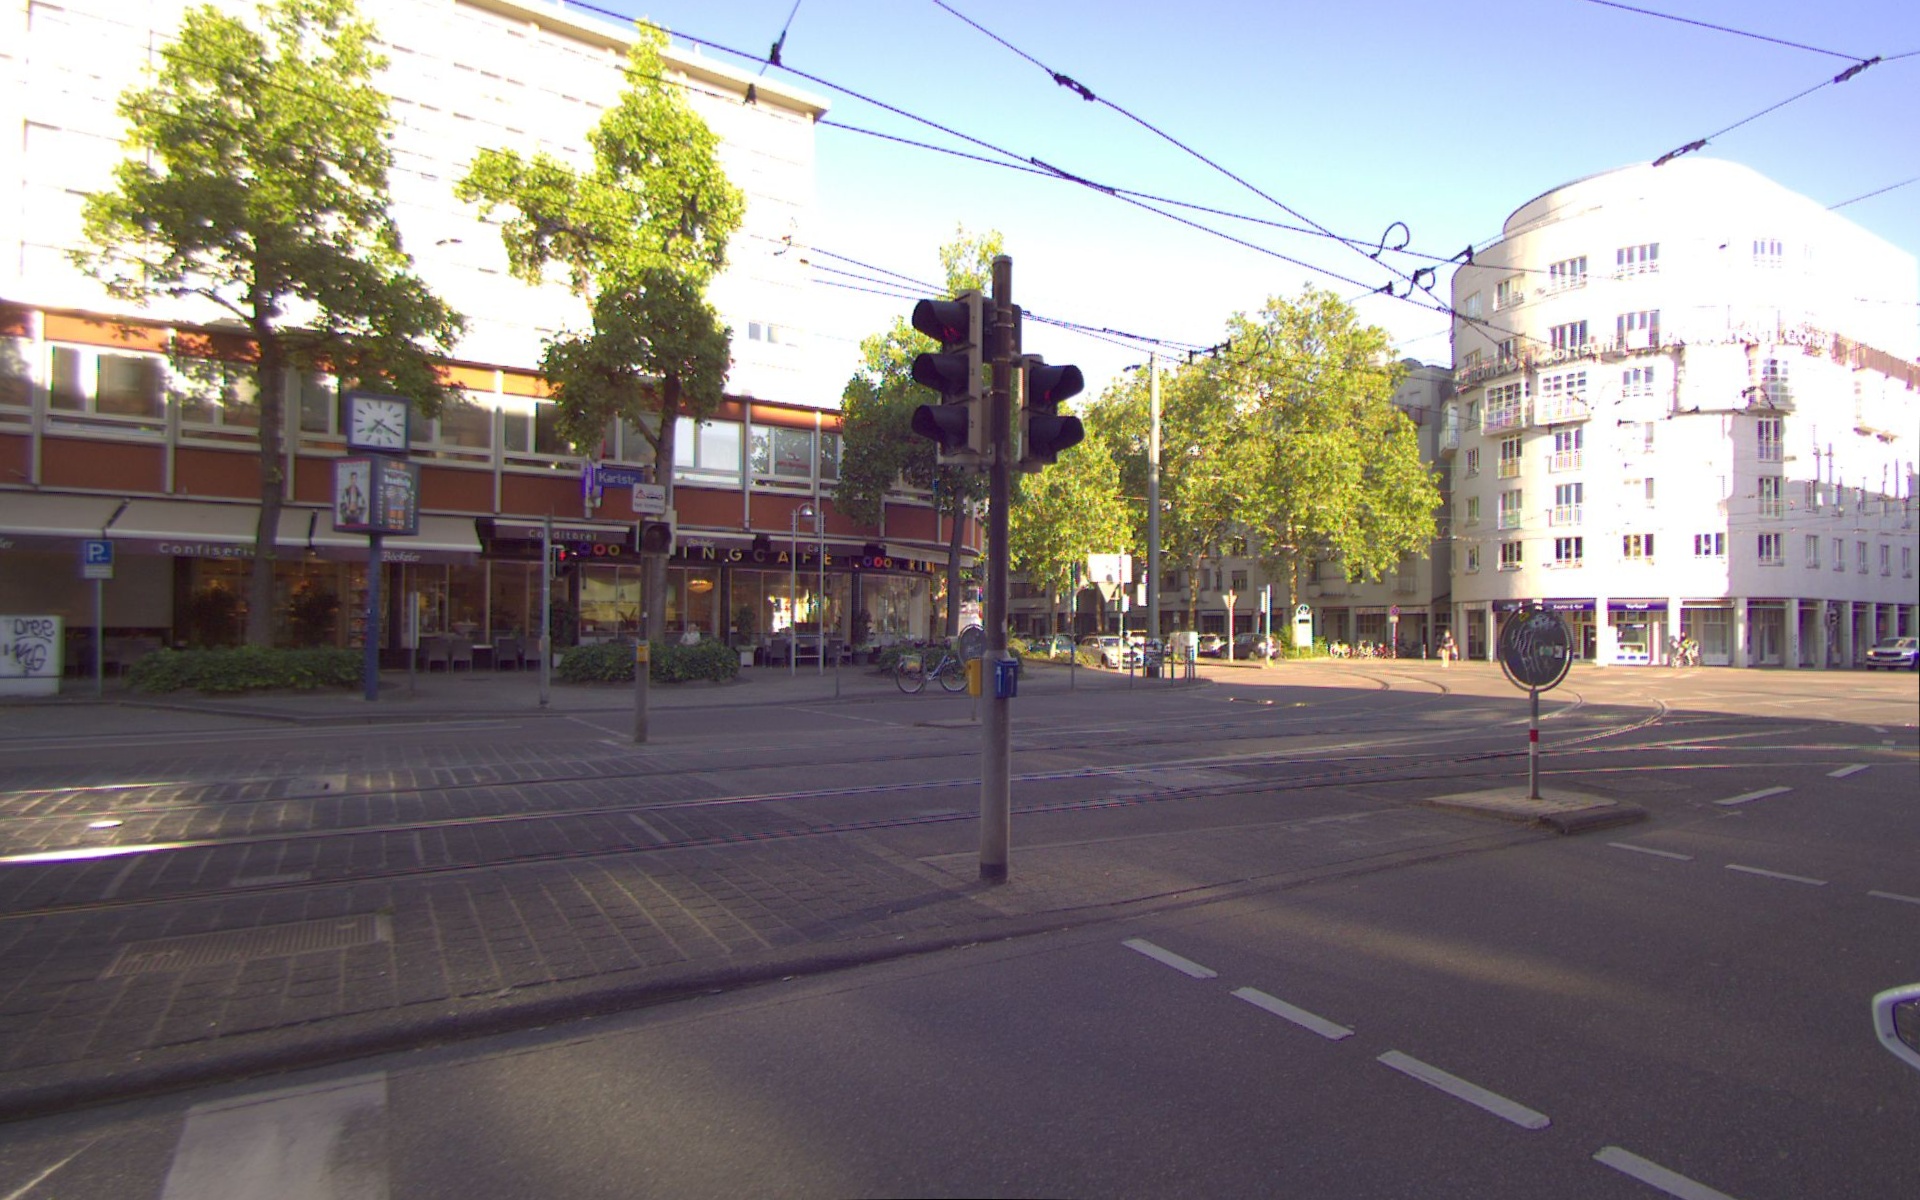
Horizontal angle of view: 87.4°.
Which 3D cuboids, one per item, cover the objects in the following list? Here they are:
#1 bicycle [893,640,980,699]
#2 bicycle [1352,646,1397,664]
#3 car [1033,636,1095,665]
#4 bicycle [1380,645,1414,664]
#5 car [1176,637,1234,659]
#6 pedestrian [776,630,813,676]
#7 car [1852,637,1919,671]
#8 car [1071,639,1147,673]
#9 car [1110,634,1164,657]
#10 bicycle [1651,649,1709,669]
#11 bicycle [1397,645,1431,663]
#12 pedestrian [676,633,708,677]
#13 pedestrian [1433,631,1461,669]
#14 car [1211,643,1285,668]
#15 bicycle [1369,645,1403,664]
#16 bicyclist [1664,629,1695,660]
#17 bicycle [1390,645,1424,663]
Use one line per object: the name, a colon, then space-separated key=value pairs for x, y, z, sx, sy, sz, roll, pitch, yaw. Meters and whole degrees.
bicycle: x=-0.519 y=1.511 z=22.110 sx=1.832 sy=1.251 sz=0.579 roll=1 pitch=-1 yaw=-26
bicycle: x=25.766 y=3.408 z=62.466 sx=0.932 sy=1.122 sz=2.412 roll=2 pitch=-3 yaw=-44
car: x=5.393 y=2.633 z=52.516 sx=1.859 sy=1.439 sz=4.445 roll=1 pitch=-3 yaw=-14
bicycle: x=27.840 y=3.465 z=64.086 sx=0.808 sy=1.122 sz=1.936 roll=1 pitch=-2 yaw=-25
car: x=17.403 y=3.426 z=71.385 sx=3.956 sy=1.530 sz=1.784 roll=2 pitch=-2 yaw=-33
pedestrian: x=-5.178 y=1.658 z=31.428 sx=0.880 sy=1.414 sz=0.930 roll=1 pitch=-2 yaw=-29
car: x=46.406 y=2.639 z=49.860 sx=4.460 sy=1.641 sz=1.983 roll=1 pitch=-2 yaw=-32
car: x=6.668 y=2.529 z=45.473 sx=1.859 sy=1.439 sz=4.445 roll=1 pitch=-3 yaw=-14
car: x=13.670 y=3.491 z=77.489 sx=3.956 sy=1.738 sz=1.784 roll=2 pitch=-2 yaw=-33
bicycle: x=35.168 y=2.877 z=49.099 sx=2.220 sy=0.939 sz=0.843 roll=0 pitch=-2 yaw=-1
bicycle: x=29.527 y=3.496 z=65.313 sx=0.808 sy=1.122 sz=1.935 roll=1 pitch=-2 yaw=-28
pedestrian: x=-7.922 y=1.618 z=29.725 sx=0.892 sy=1.279 sz=0.838 roll=1 pitch=-2 yaw=-15
pedestrian: x=22.248 y=2.292 z=45.909 sx=0.686 sy=1.704 sz=0.867 roll=-1 pitch=-2 yaw=-22
car: x=17.463 y=3.336 z=61.078 sx=1.866 sy=1.439 sz=4.427 roll=0 pitch=-3 yaw=-26
bicycle: x=26.965 y=3.453 z=63.651 sx=0.808 sy=1.122 sz=1.936 roll=1 pitch=-2 yaw=-25
bicyclist: x=35.181 y=2.179 z=49.121 sx=0.879 sy=1.486 sz=0.843 roll=0 pitch=-2 yaw=-1
bicycle: x=28.829 y=3.483 z=64.807 sx=0.808 sy=1.122 sz=1.935 roll=1 pitch=-2 yaw=-28
